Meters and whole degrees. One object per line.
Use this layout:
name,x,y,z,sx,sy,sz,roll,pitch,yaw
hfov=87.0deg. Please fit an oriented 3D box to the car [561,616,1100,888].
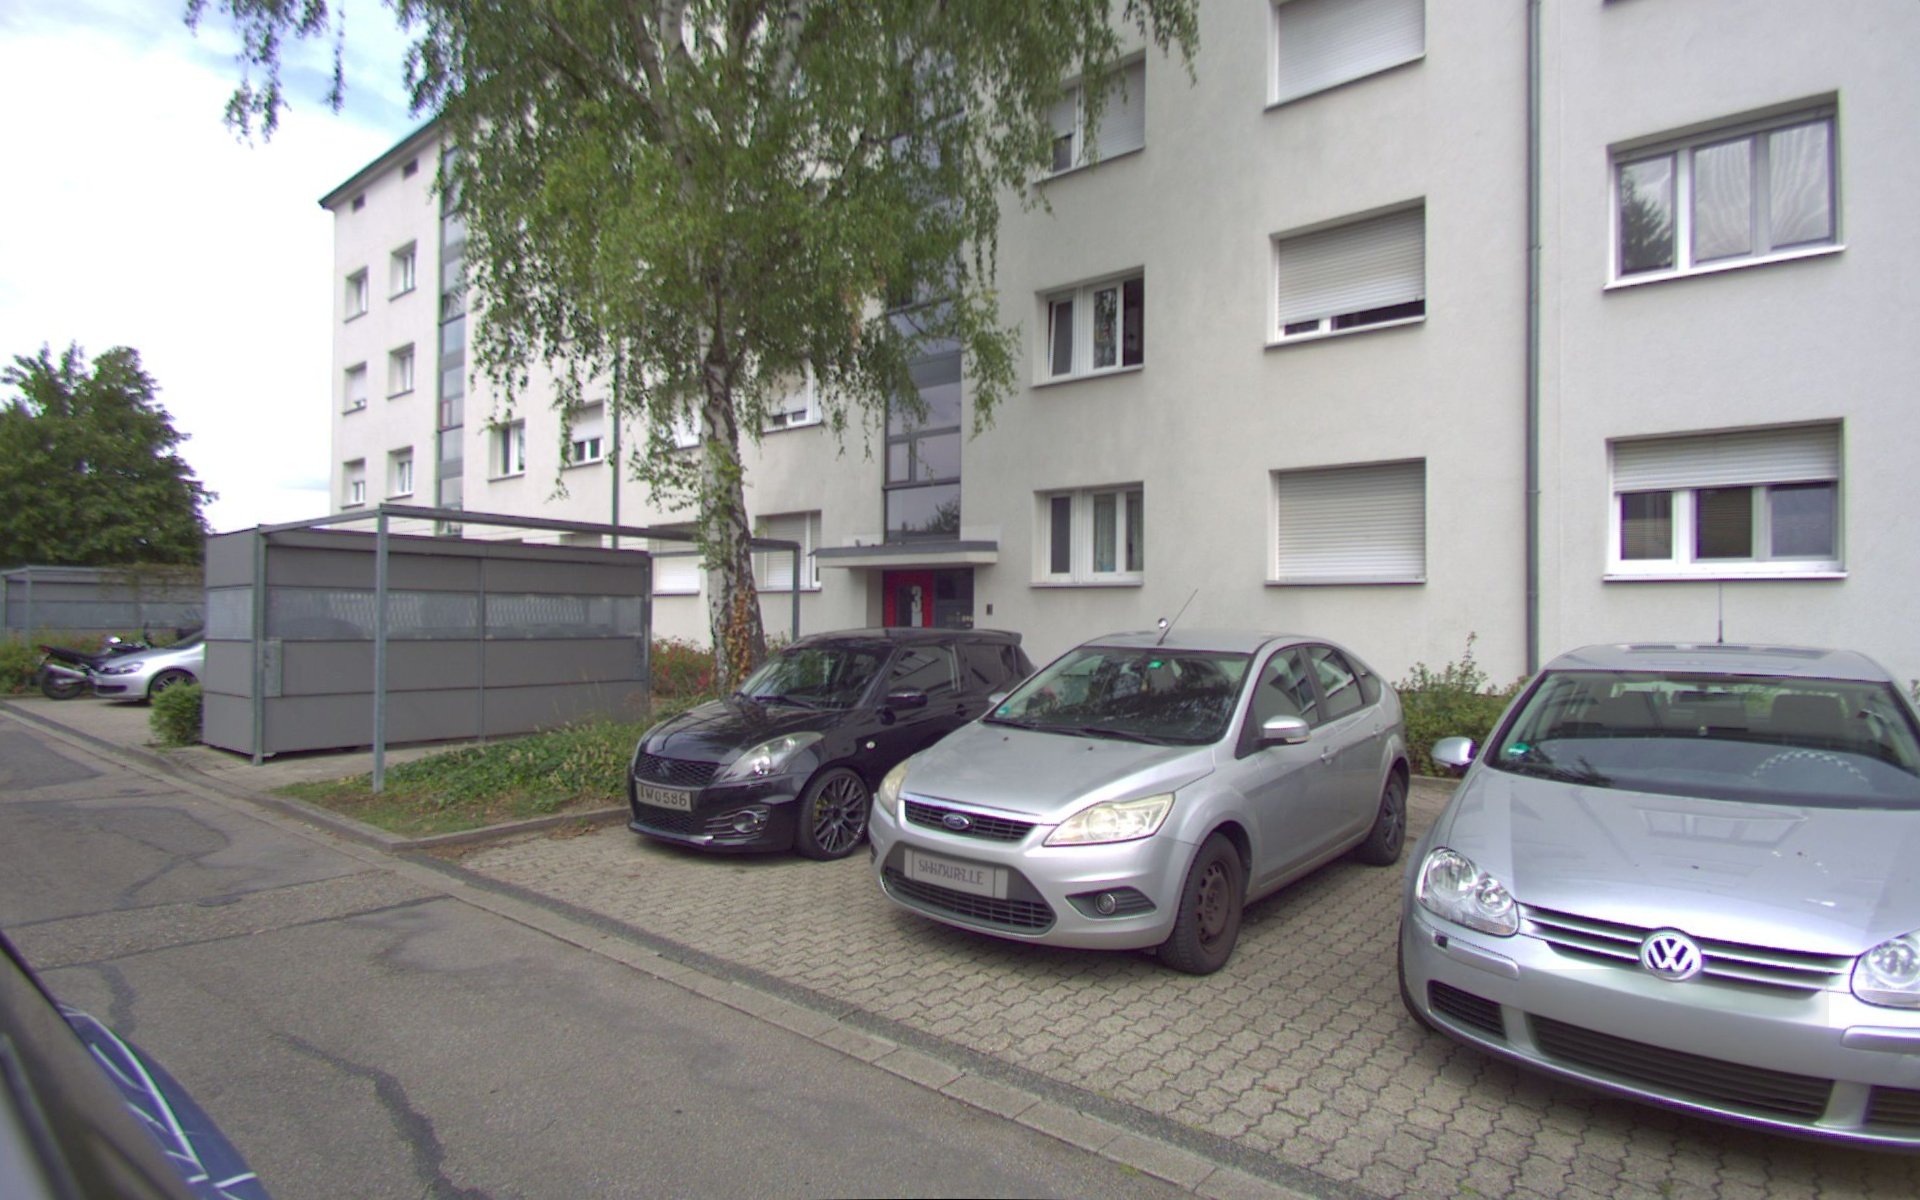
car,-0.730,0.933,7.816,1.780,1.516,4.011,-1,-2,39

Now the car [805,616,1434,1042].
car,1.226,0.898,5.769,1.780,1.516,4.011,-1,-2,39

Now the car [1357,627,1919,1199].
car,3.182,0.887,4.156,1.780,1.475,4.011,-1,-2,39

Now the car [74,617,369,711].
car,-13.252,1.151,18.342,1.901,1.497,3.945,-1,-4,41

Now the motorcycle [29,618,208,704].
motorcycle,-15.299,1.119,18.475,0.713,1.475,2.353,-1,-4,39
